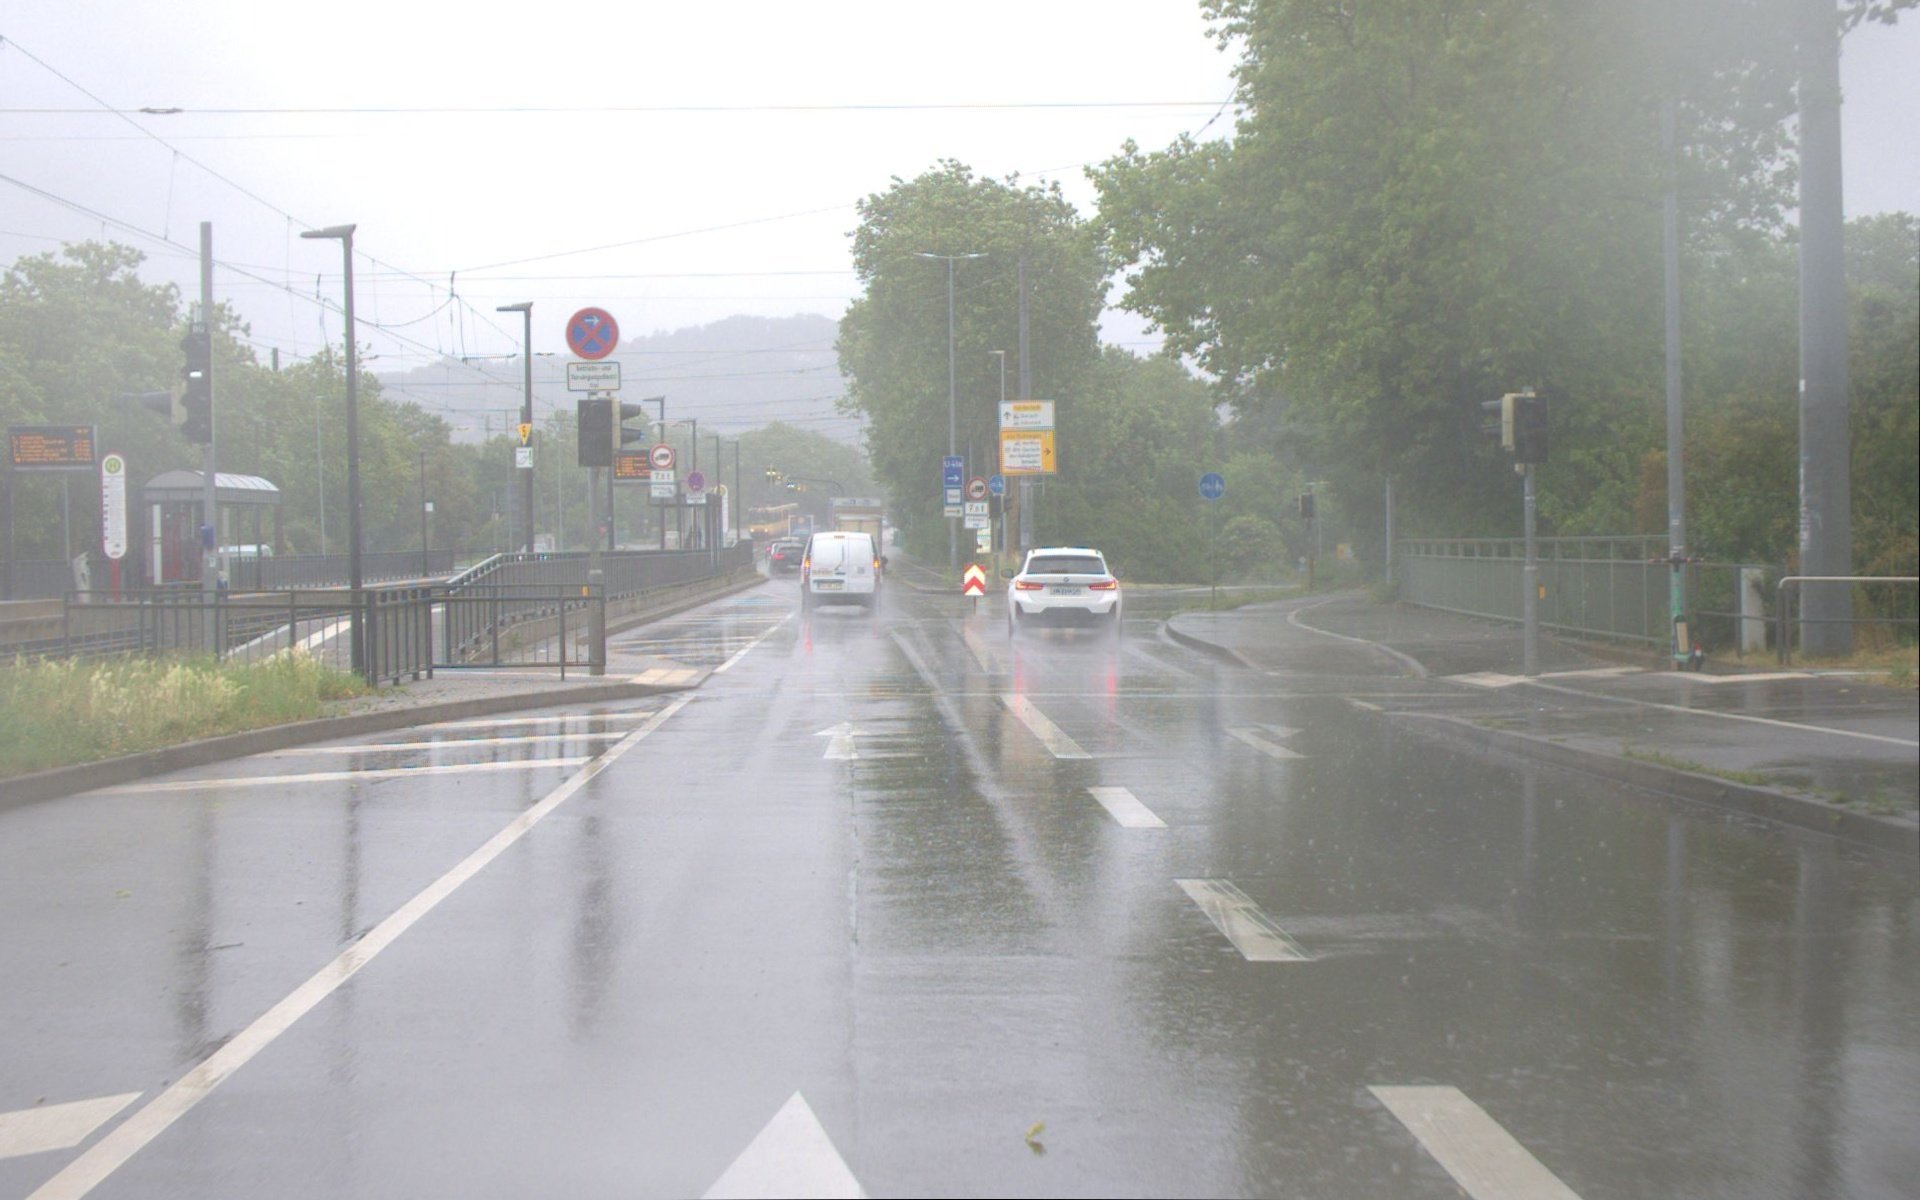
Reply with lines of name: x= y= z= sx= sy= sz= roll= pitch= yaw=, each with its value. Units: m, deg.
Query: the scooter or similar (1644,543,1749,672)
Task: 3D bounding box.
scooter or similar: x=7.572 y=0.066 z=35.401 sx=0.759 sy=1.288 sz=1.647 roll=0 pitch=1 yaw=1

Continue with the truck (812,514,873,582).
truck: x=-6.583 y=-2.876 z=191.676 sx=2.775 sy=3.691 sz=9.854 roll=0 pitch=1 yaw=-5

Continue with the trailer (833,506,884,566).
trailer: x=-4.724 y=-2.980 z=160.417 sx=2.166 sy=2.748 sz=5.677 roll=0 pitch=1 yaw=0

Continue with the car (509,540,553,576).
car: x=-23.890 y=-2.333 z=191.477 sx=1.993 sy=2.007 sz=4.000 roll=0 pitch=1 yaw=-1

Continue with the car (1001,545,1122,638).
car: x=1.634 y=-0.171 z=55.875 sx=1.888 sy=1.426 sz=4.000 roll=0 pitch=1 yaw=1

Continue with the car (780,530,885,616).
car: x=-2.859 y=-0.625 z=76.363 sx=1.993 sy=1.842 sz=4.001 roll=0 pitch=1 yaw=-7
